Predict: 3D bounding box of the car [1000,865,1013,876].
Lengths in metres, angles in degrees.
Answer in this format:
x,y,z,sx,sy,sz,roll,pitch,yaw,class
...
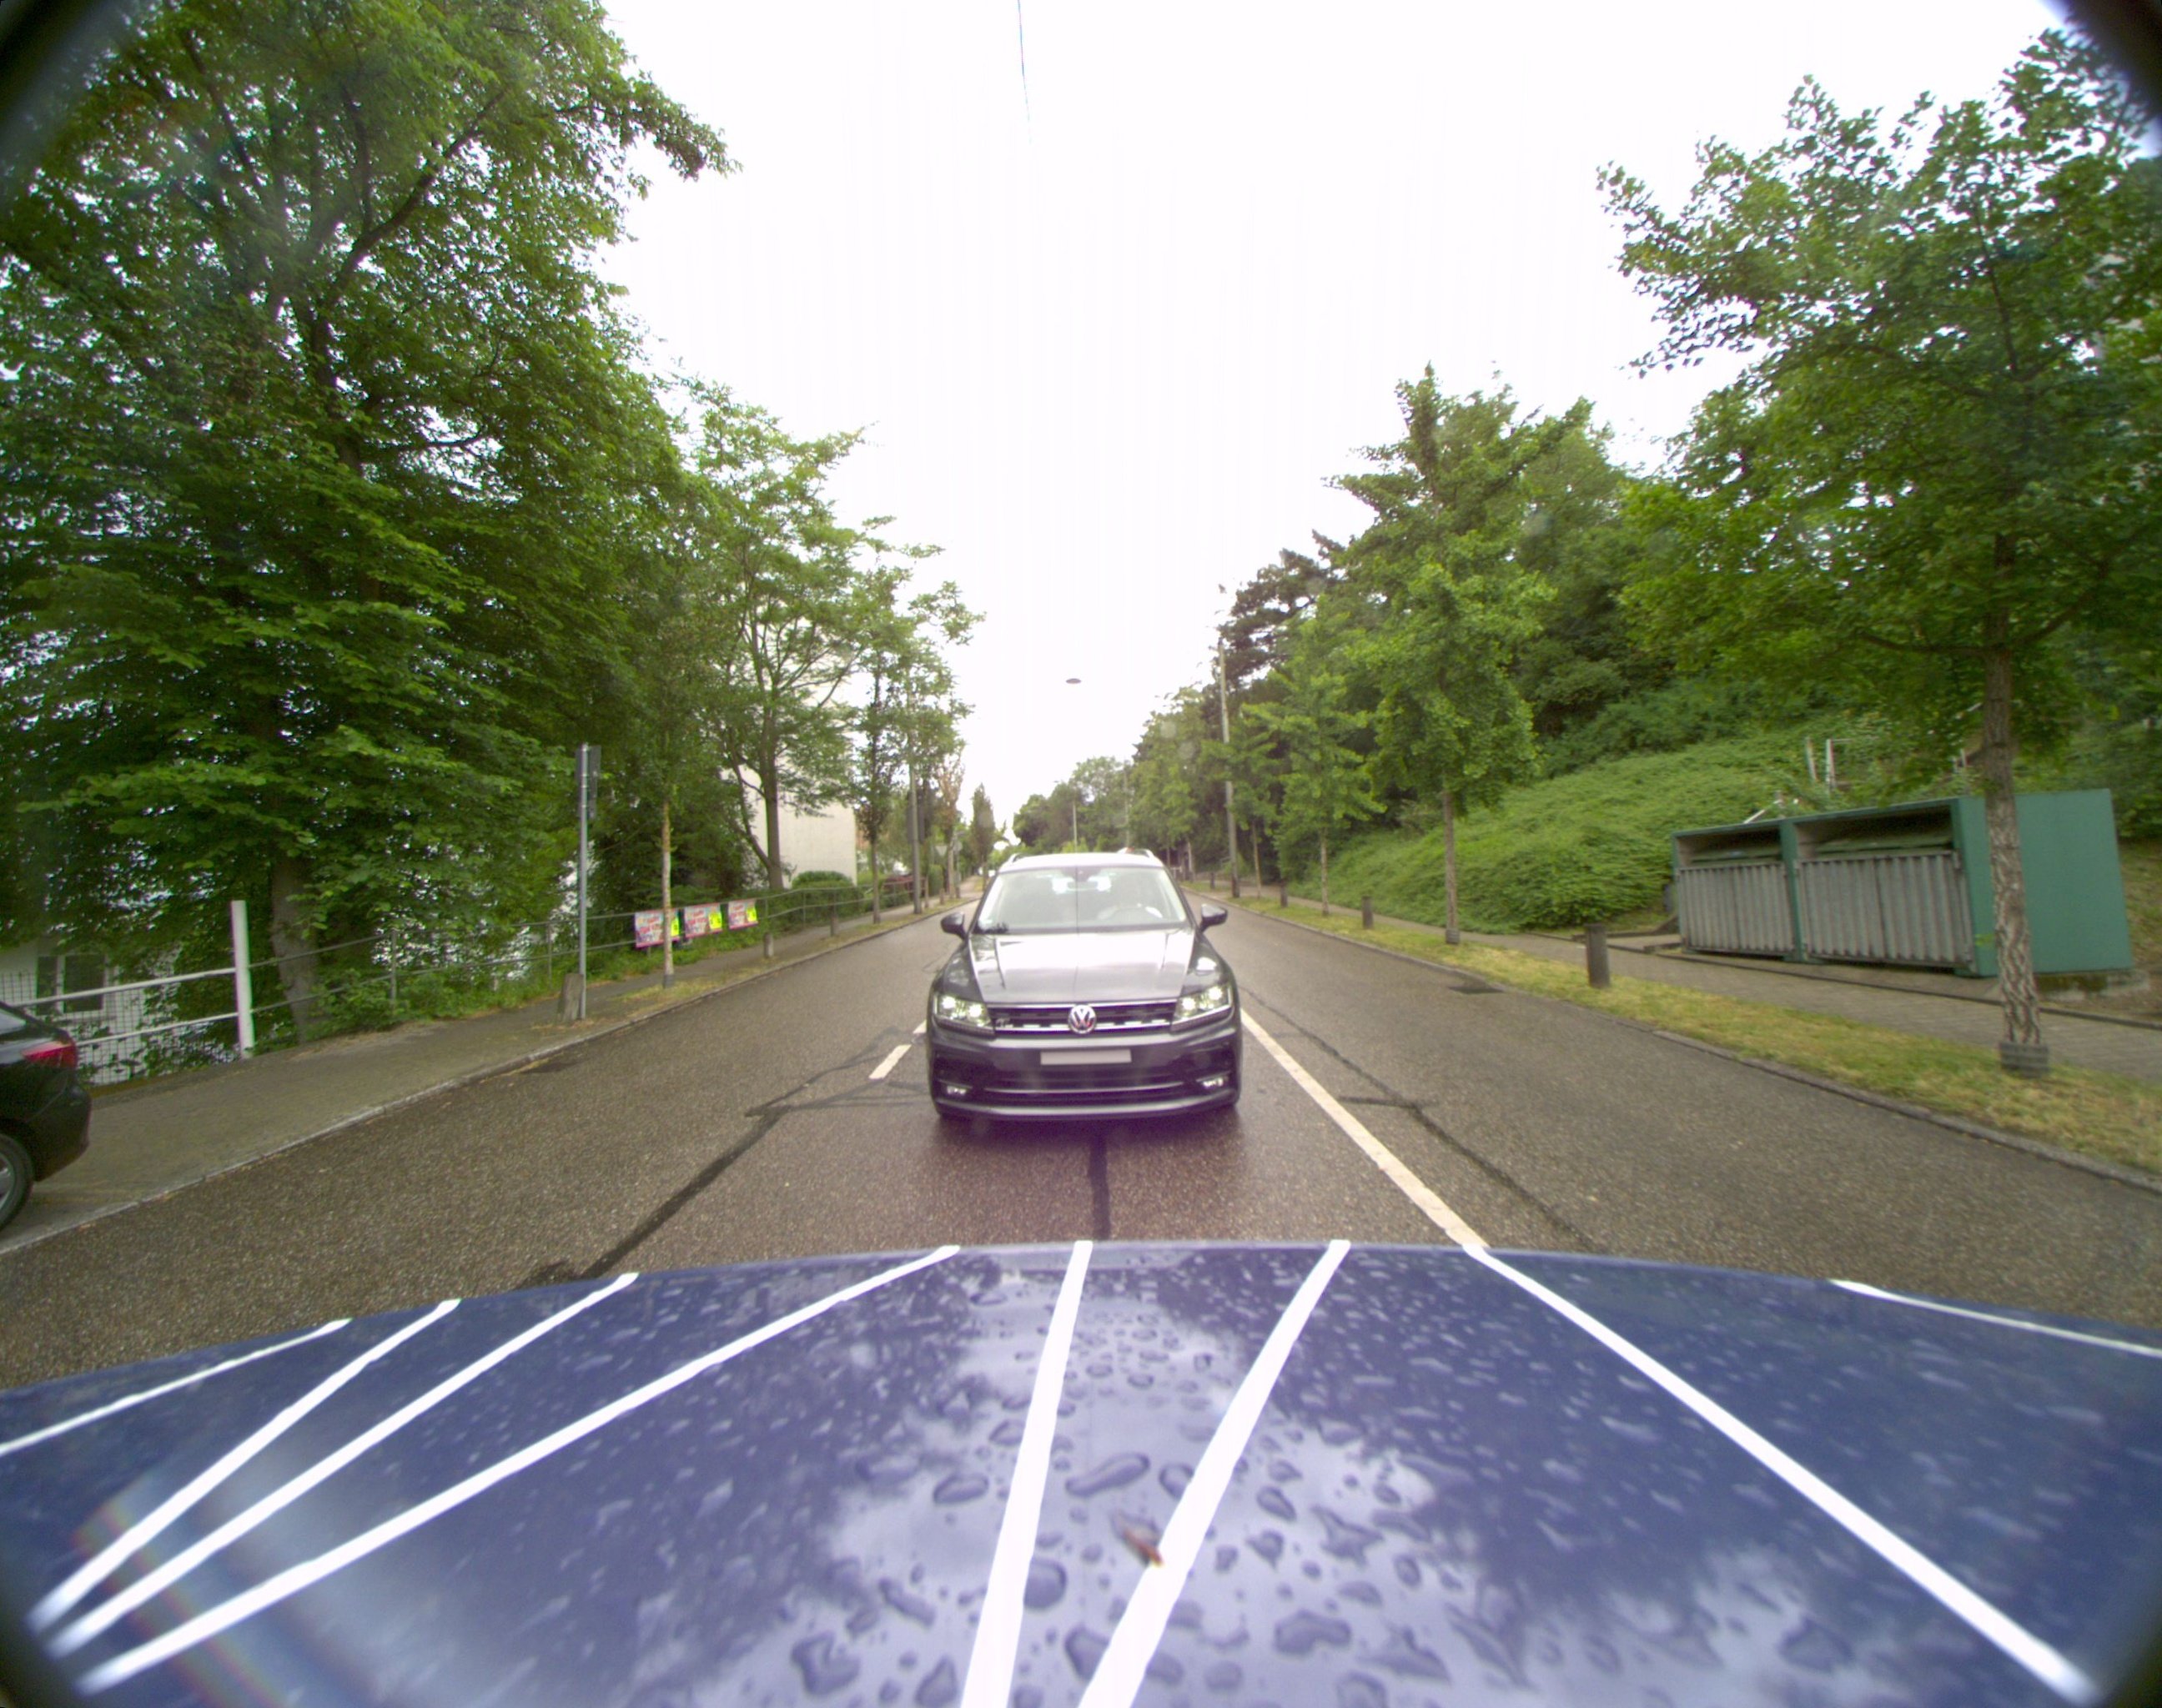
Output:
x,y,z,sx,sy,sz,roll,pitch,yaw,class
-12.069,2.630,123.236,1.892,1.710,4.235,-1,1,-5,car

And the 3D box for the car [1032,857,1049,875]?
x,y,z,sx,sy,sz,roll,pitch,yaw,class
-5.055,1.497,94.843,1.835,2.003,4.055,-3,1,-5,car

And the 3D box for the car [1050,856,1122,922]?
x,y,z,sx,sy,sz,roll,pitch,yaw,class
0.156,0.946,22.482,1.834,1.608,4.350,-3,1,1,car

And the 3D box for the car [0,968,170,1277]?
x,y,z,sx,sy,sz,roll,pitch,yaw,class
-6.335,1.390,2.231,1.999,1.426,4.442,-1,0,-1,car

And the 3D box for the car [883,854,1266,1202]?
x,y,z,sx,sy,sz,roll,pitch,yaw,class
-0.002,0.872,5.933,1.834,1.608,4.292,-3,1,1,car
